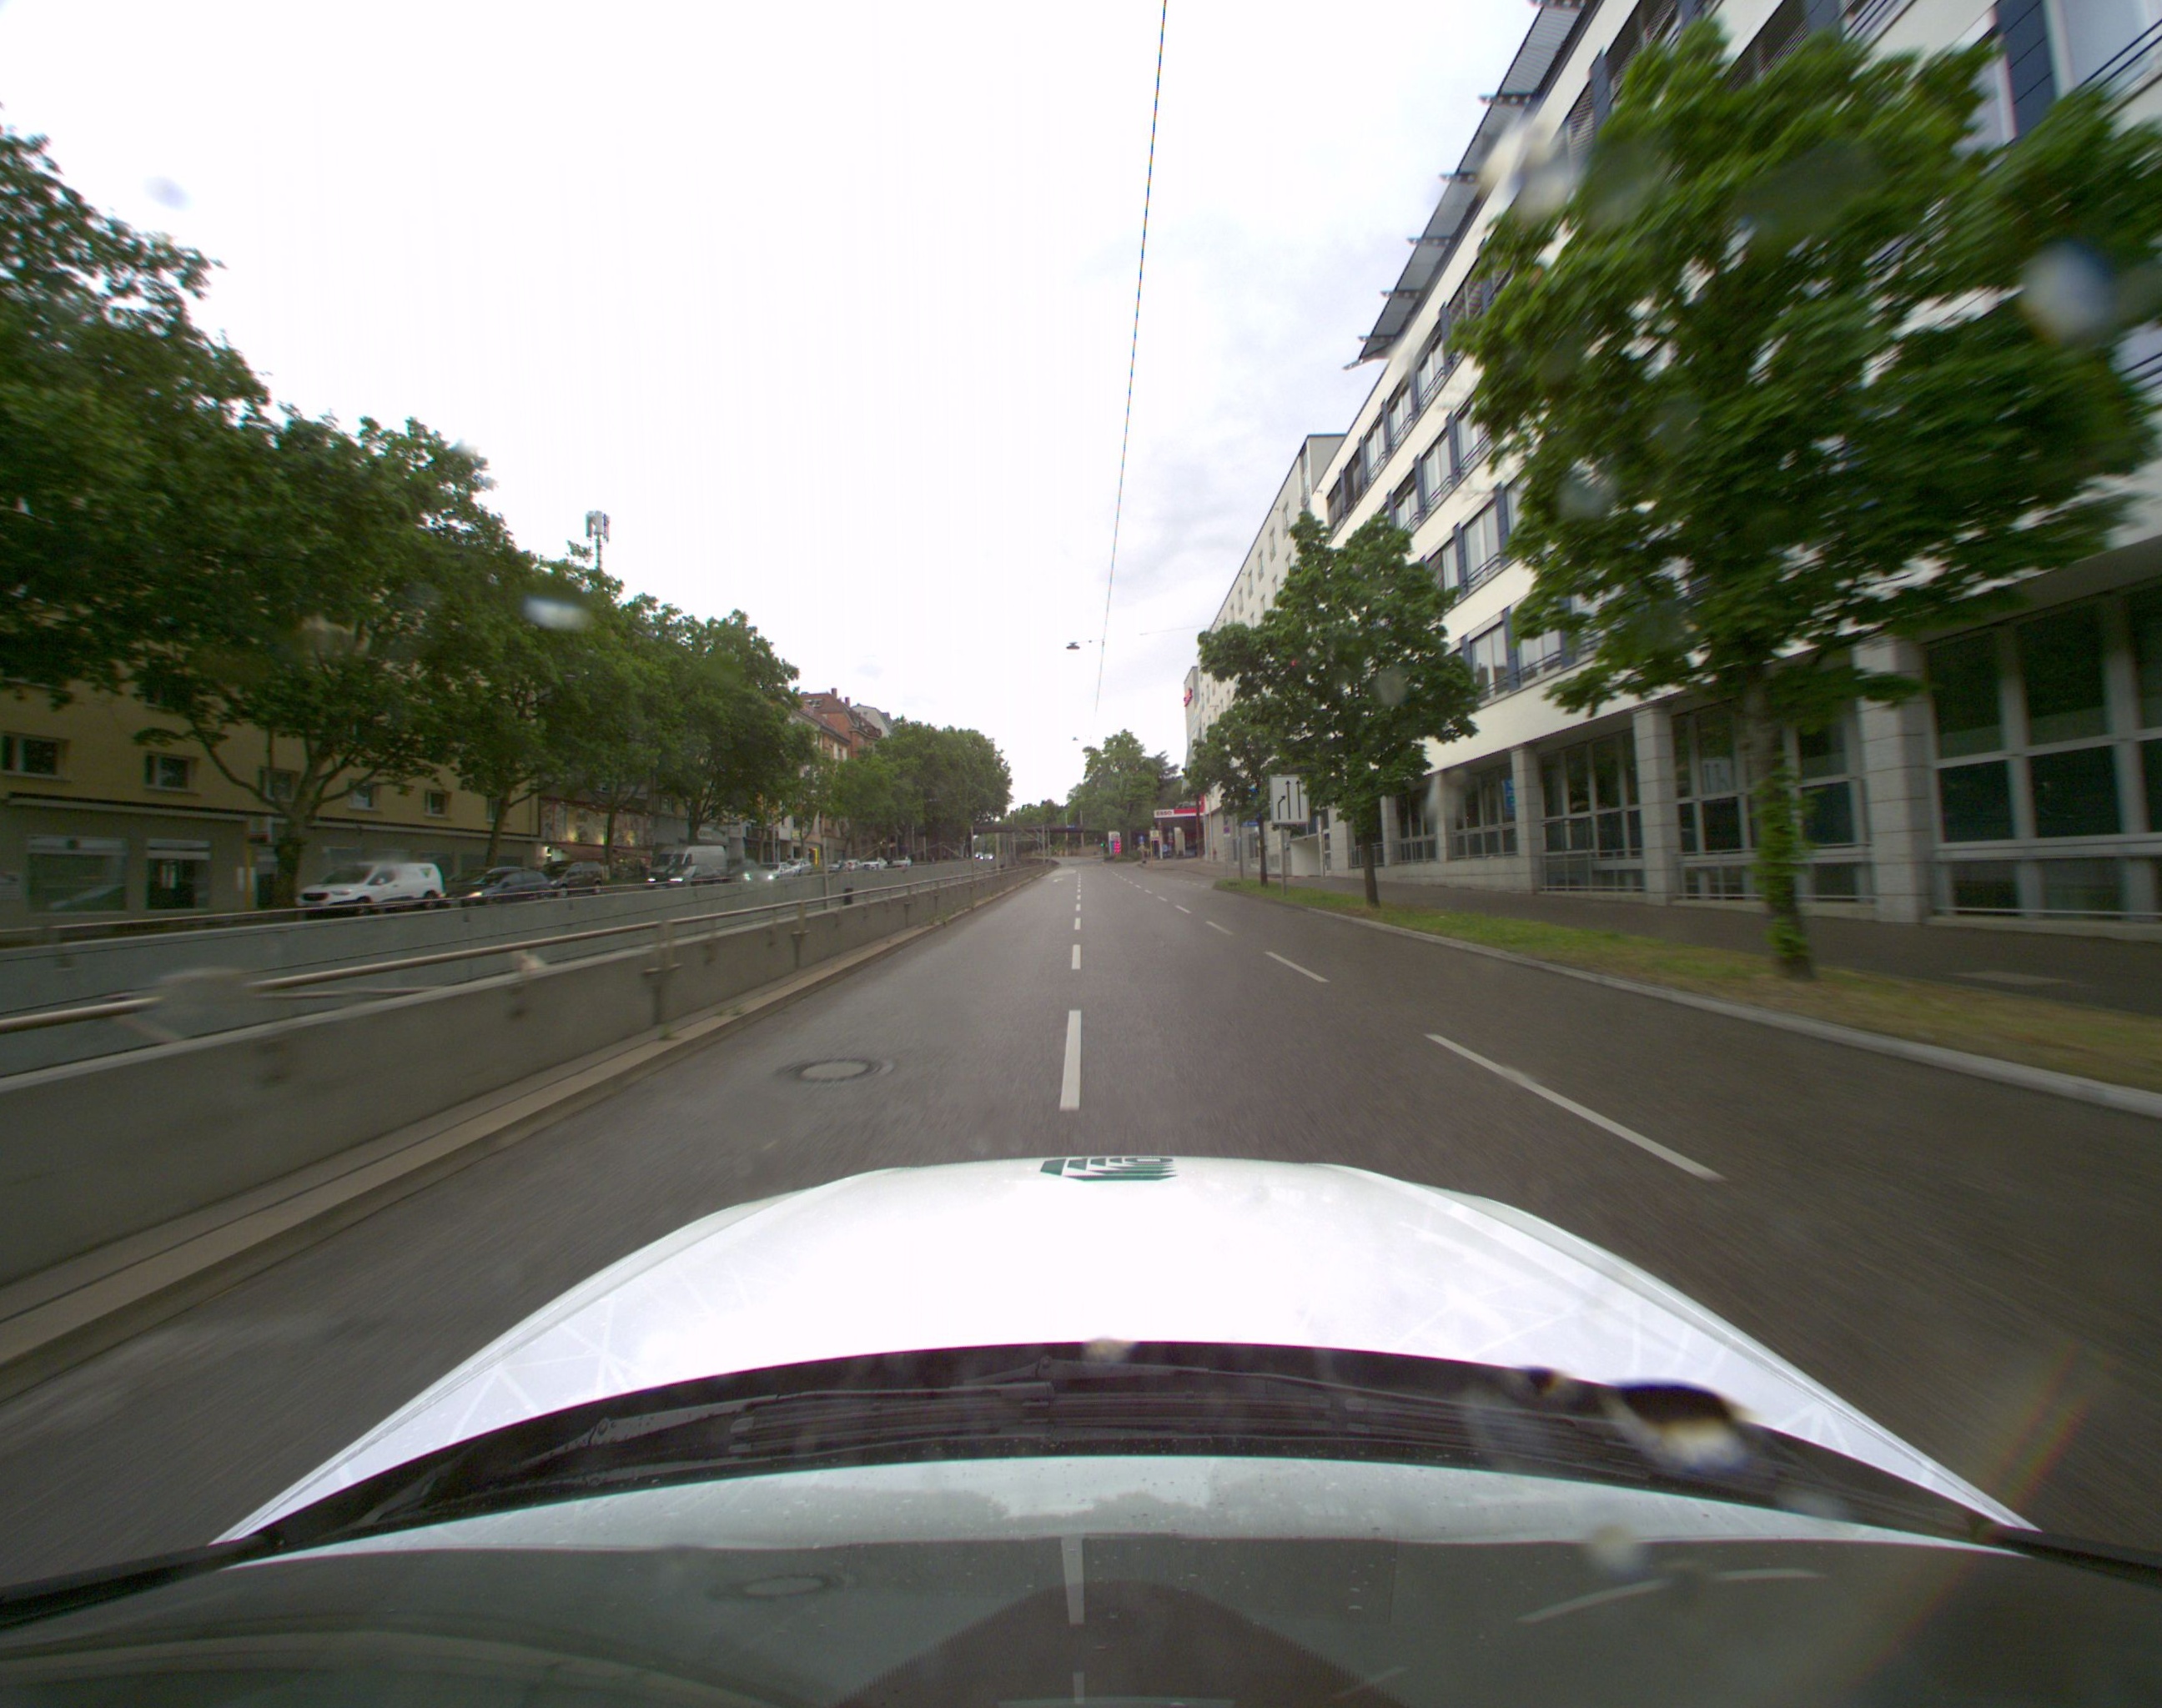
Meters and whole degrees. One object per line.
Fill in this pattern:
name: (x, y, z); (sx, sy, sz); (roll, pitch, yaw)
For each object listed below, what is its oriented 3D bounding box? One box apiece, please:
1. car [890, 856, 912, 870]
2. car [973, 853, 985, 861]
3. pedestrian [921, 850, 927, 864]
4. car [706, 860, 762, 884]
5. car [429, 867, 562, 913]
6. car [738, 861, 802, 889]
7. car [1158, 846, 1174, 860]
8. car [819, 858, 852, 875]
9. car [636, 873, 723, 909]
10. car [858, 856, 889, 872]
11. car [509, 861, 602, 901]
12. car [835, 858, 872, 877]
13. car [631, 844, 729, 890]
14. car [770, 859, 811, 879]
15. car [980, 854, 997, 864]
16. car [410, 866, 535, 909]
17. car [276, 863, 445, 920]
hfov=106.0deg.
car: (-22.321, 1.069, 101.189); (1.788, 1.611, 4.113); (-1, 0, 1)
car: (-24.086, 0.673, 192.261); (1.948, 1.852, 4.971); (-1, 0, 2)
pedestrian: (-23.811, 0.462, 123.548); (0.666, 2.014, 0.935); (-1, -1, 3)
car: (-24.518, 1.253, 57.685); (1.787, 1.510, 4.674); (-1, 0, 2)
car: (-22.379, 1.337, 31.331); (1.685, 1.550, 4.075); (-1, 0, 11)
car: (-18.589, 1.214, 48.905); (1.839, 1.510, 4.824); (-1, 0, 2)
car: (11.264, -0.142, 108.095); (1.762, 1.623, 3.876); (-4, -1, 9)
car: (-23.803, 1.196, 79.165); (1.787, 1.510, 4.210); (-1, 0, 2)
car: (-18.821, 1.703, 38.428); (1.787, 1.510, 4.346); (-2, -1, 2)
car: (-22.888, 1.105, 90.039); (1.920, 1.601, 5.201); (-1, 0, 1)
car: (-25.260, 1.240, 39.349); (1.789, 1.729, 4.204); (-1, 0, -1)
car: (-20.003, 1.158, 71.730); (1.838, 1.510, 4.021); (-1, 0, 4)
car: (-24.941, 0.730, 51.076); (2.443, 2.662, 6.934); (-1, 0, 2)
car: (-24.438, 1.246, 68.733); (1.787, 1.571, 4.210); (-1, 0, 2)
car: (-14.660, 0.711, 129.758); (2.019, 1.510, 4.884); (-1, 0, 1)
car: (-25.627, 1.350, 34.528); (1.870, 1.583, 4.473); (-1, 0, 0)
car: (-25.901, 1.275, 29.574); (1.872, 1.764, 4.897); (-1, 0, -2)
